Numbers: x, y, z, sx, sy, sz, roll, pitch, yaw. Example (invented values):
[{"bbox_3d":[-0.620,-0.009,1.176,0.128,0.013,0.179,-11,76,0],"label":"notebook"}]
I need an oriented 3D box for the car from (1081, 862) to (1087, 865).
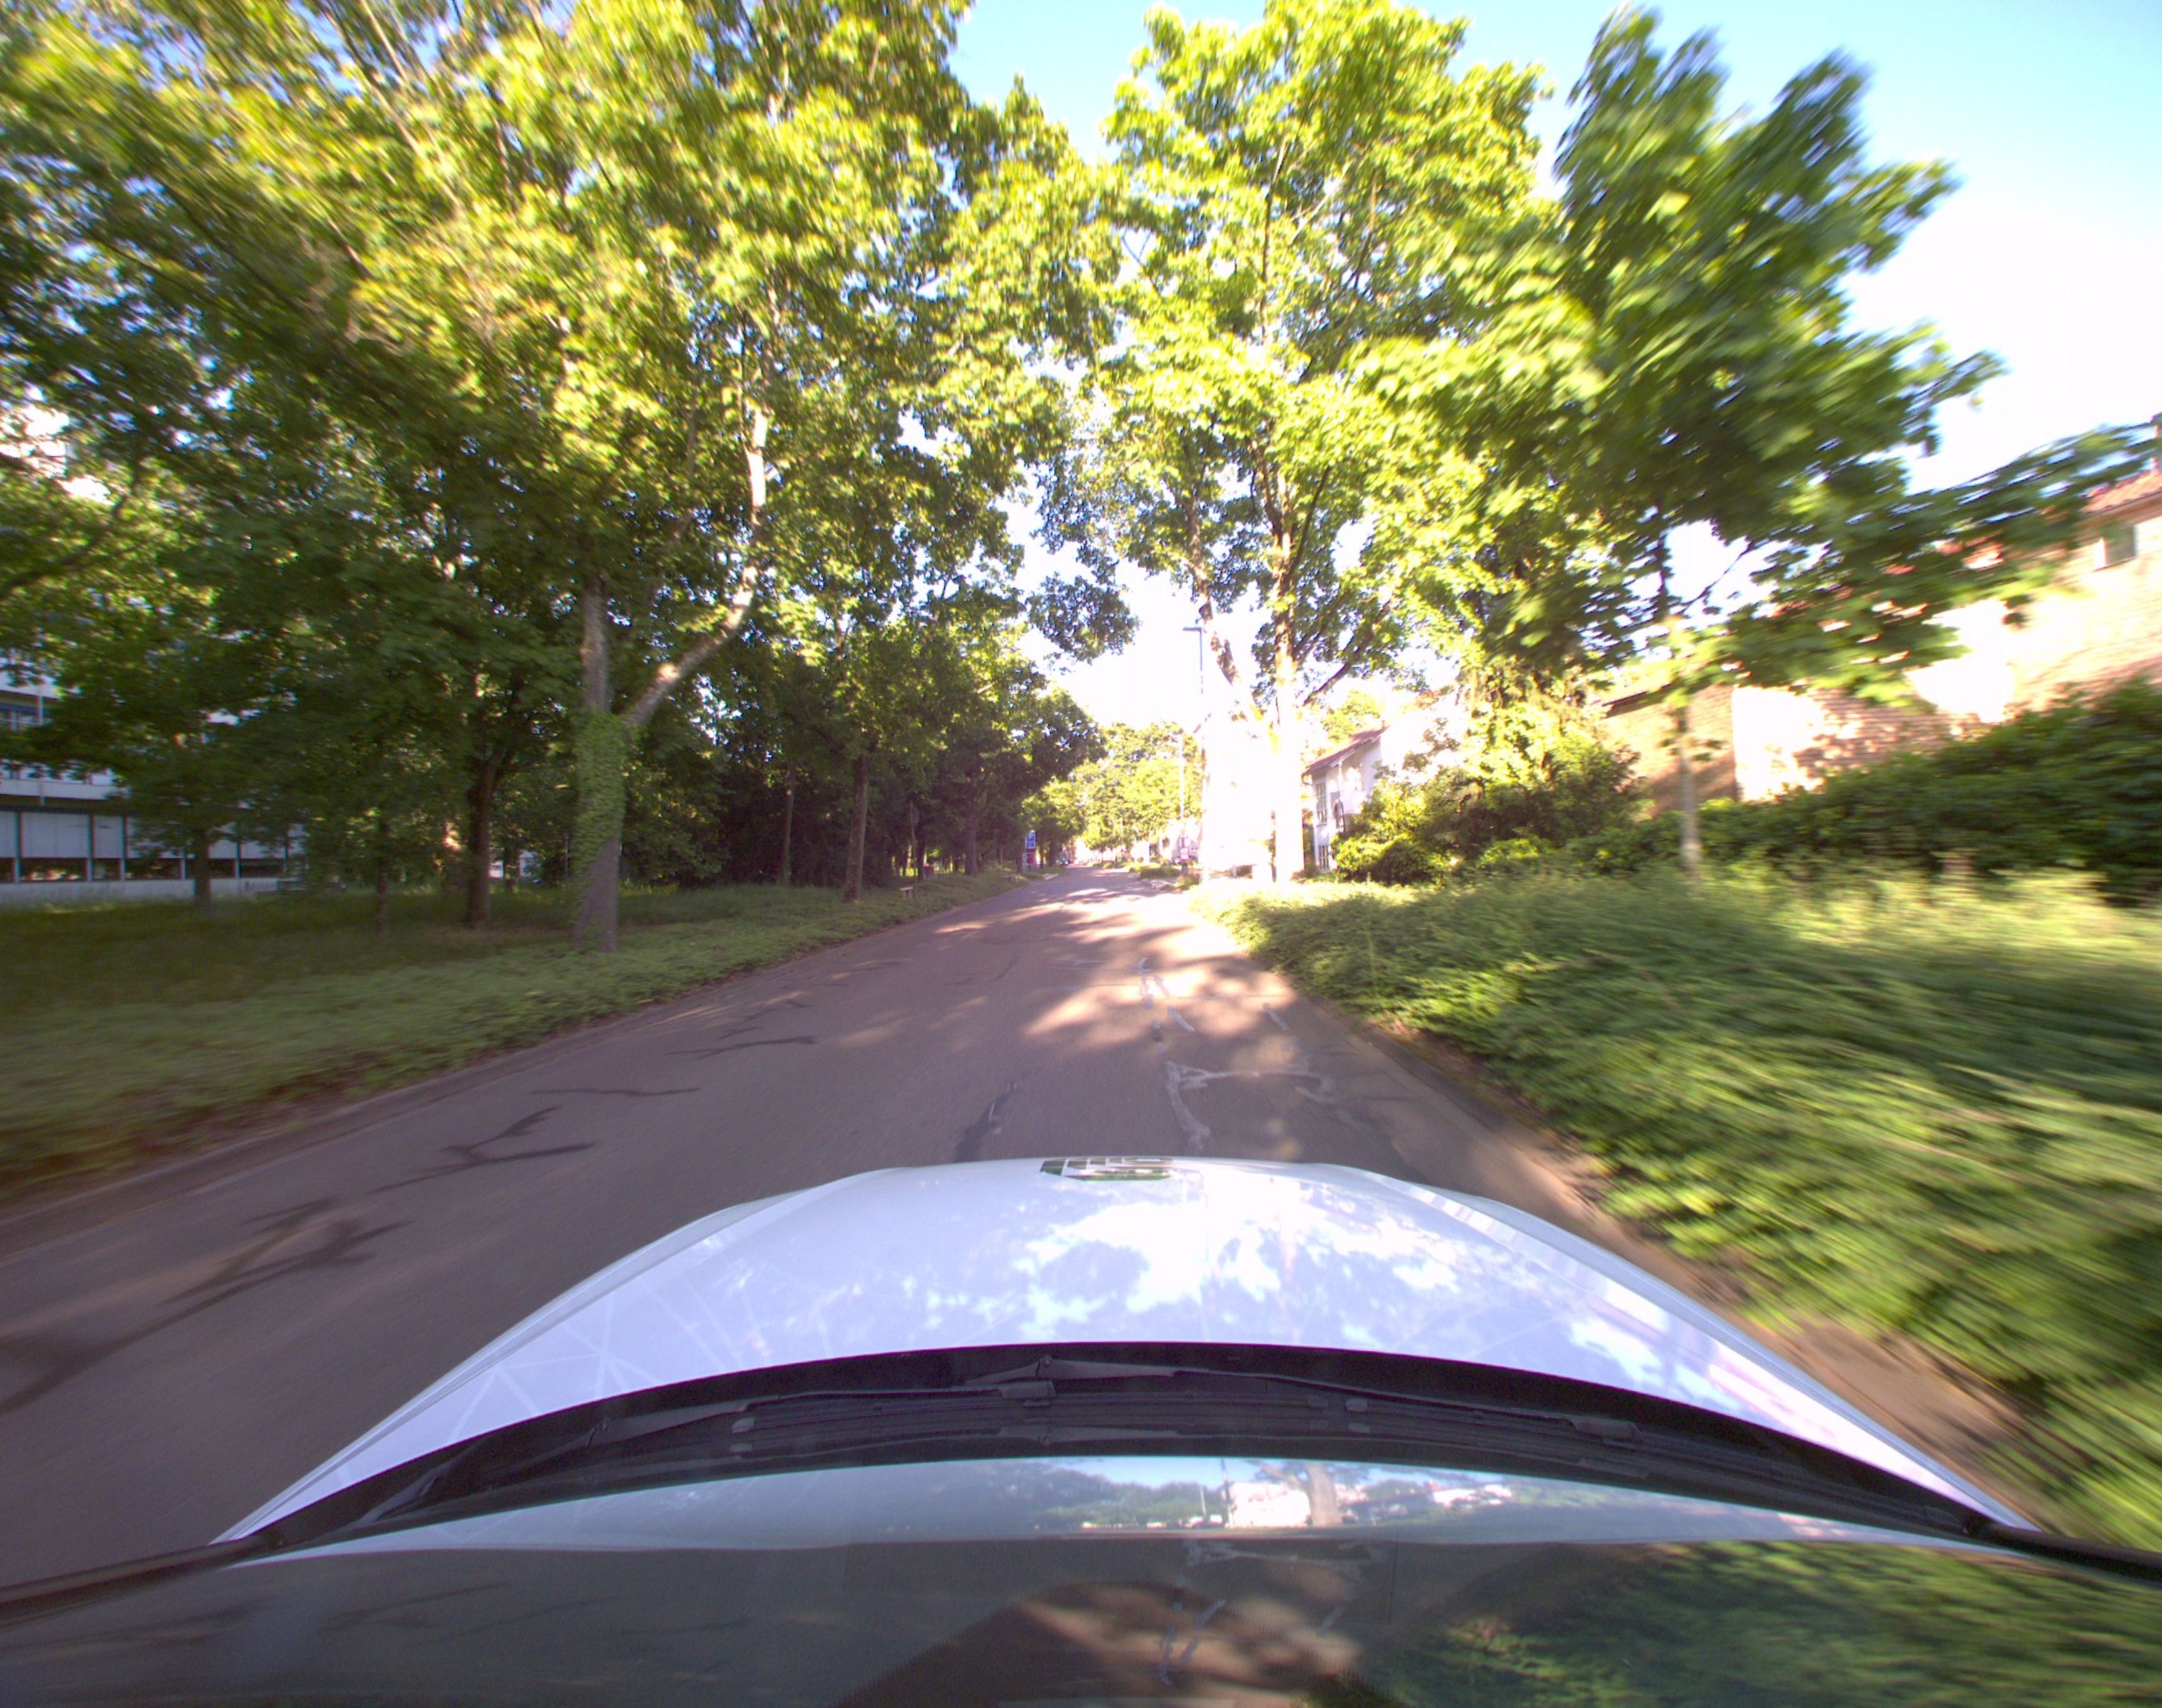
[{"bbox_3d":[0.948,2.699,237.524,1.833,0.991,3.819,-1,0,0],"label":"car"}]

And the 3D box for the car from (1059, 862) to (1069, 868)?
[{"bbox_3d":[-4.093,2.552,194.948,1.992,1.354,3.531,0,0,-8],"label":"car"}]

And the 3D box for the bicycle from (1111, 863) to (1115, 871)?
[{"bbox_3d":[4.275,1.749,109.160,0.437,0.978,1.662,-2,1,2],"label":"bicycle"}]

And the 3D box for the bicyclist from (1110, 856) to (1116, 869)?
[{"bbox_3d":[4.263,1.114,109.170,0.864,1.641,1.115,-1,1,1],"label":"bicyclist"}]

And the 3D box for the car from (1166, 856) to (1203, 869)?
[{"bbox_3d":[12.534,1.016,98.373,4.326,1.353,2.149,2,3,7],"label":"car"}]
